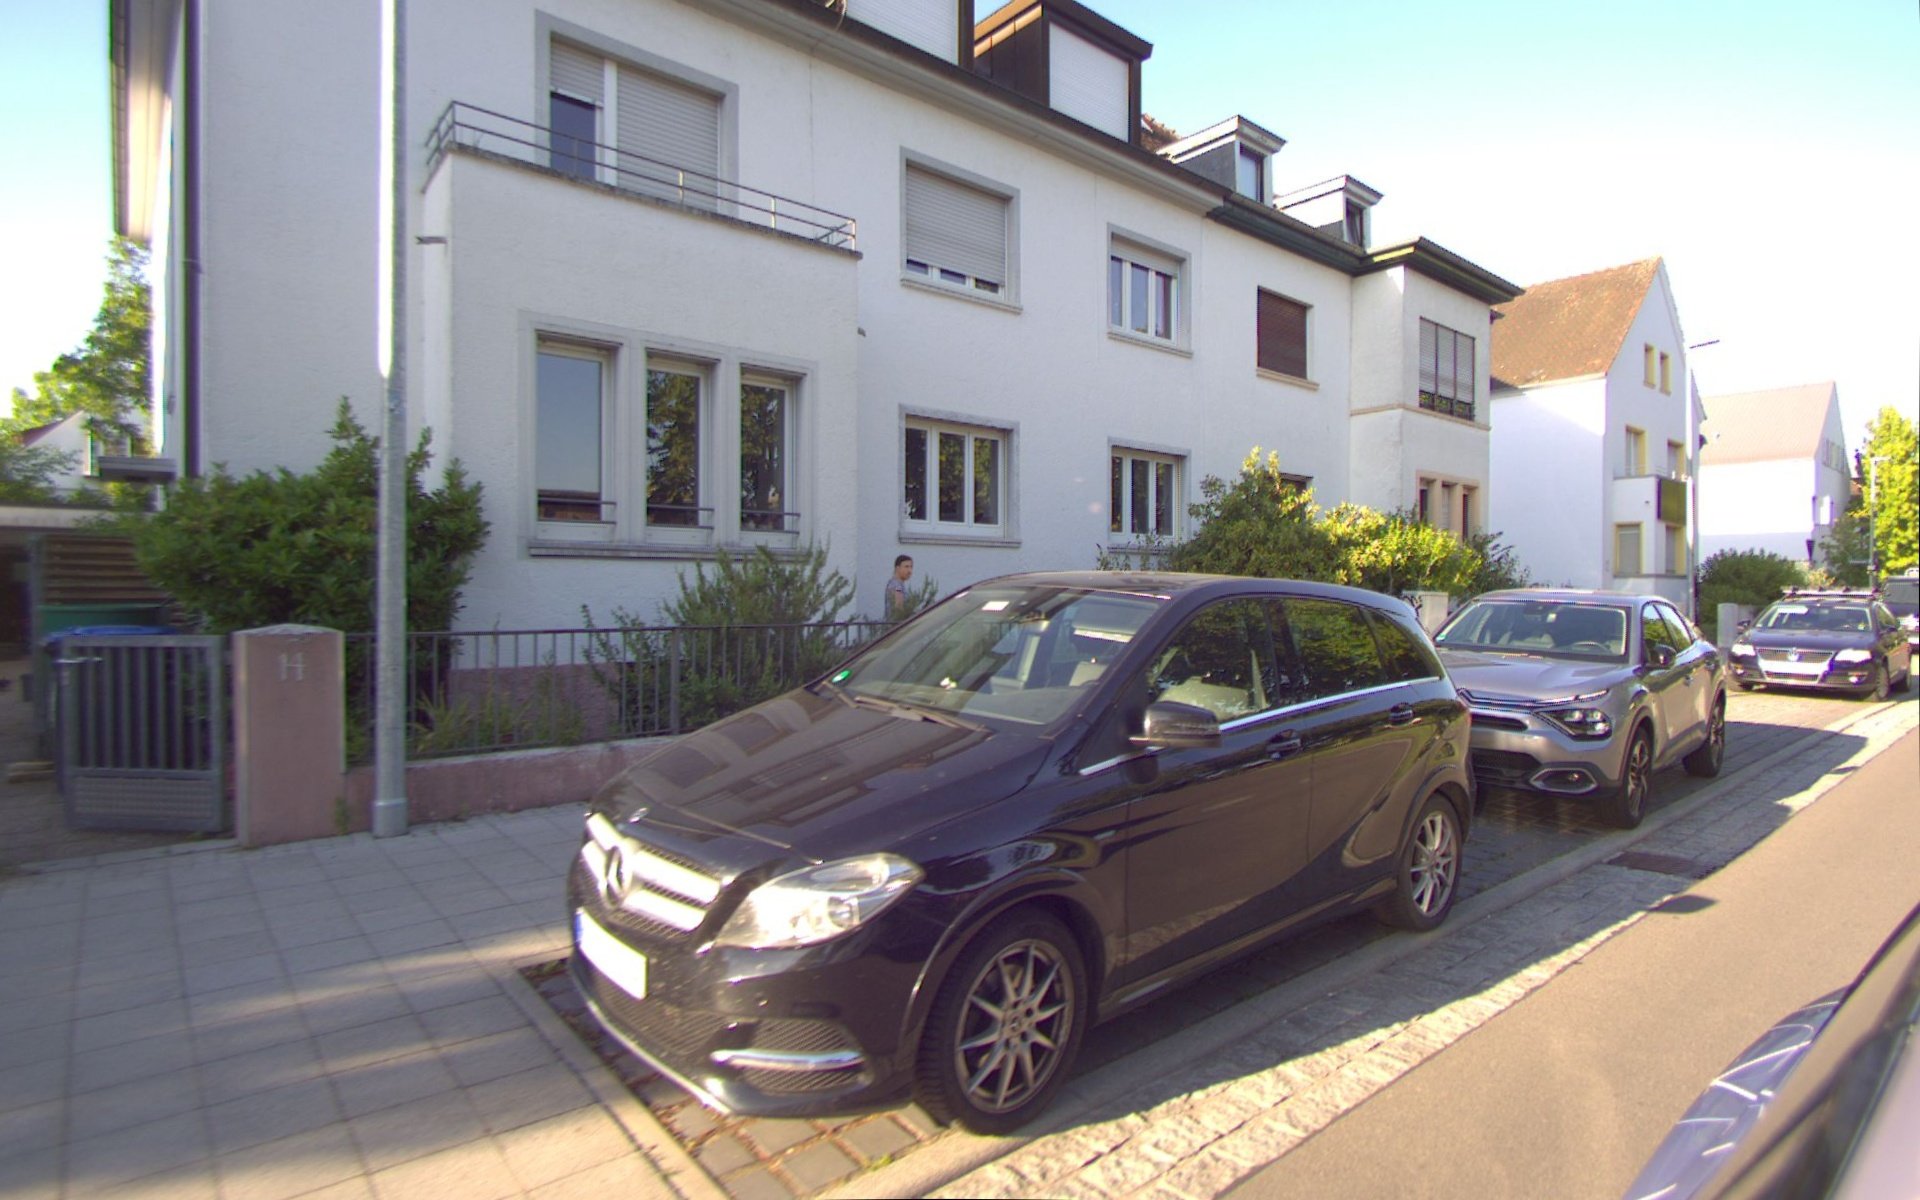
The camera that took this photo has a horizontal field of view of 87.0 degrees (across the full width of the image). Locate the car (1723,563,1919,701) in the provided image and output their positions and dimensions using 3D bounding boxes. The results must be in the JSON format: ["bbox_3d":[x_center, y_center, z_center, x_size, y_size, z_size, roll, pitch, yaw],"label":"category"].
[{"bbox_3d":[13.334,0.382,15.416,4.394,1.793,1.798,0,2,-41],"label":"car"}]

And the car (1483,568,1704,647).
[{"bbox_3d":[15.277,0.116,24.563,1.822,1.747,4.221,-1,2,-43],"label":"car"}]

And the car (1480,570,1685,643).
[{"bbox_3d":[16.150,0.161,26.401,1.822,1.748,4.220,-1,0,-43],"label":"car"}]

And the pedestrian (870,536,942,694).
[{"bbox_3d":[-0.574,0.149,10.618,0.617,1.598,0.598,-1,-1,-14],"label":"pedestrian"}]

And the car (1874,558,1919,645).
[{"bbox_3d":[25.616,0.036,26.405,4.728,2.158,1.910,0,2,-40],"label":"car"}]

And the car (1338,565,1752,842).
[{"bbox_3d":[4.772,0.550,7.973,4.141,1.593,1.720,-1,3,-44],"label":"car"}]

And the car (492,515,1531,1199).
[{"bbox_3d":[0.567,0.571,4.315,4.338,1.705,1.837,-1,4,-41],"label":"car"}]
